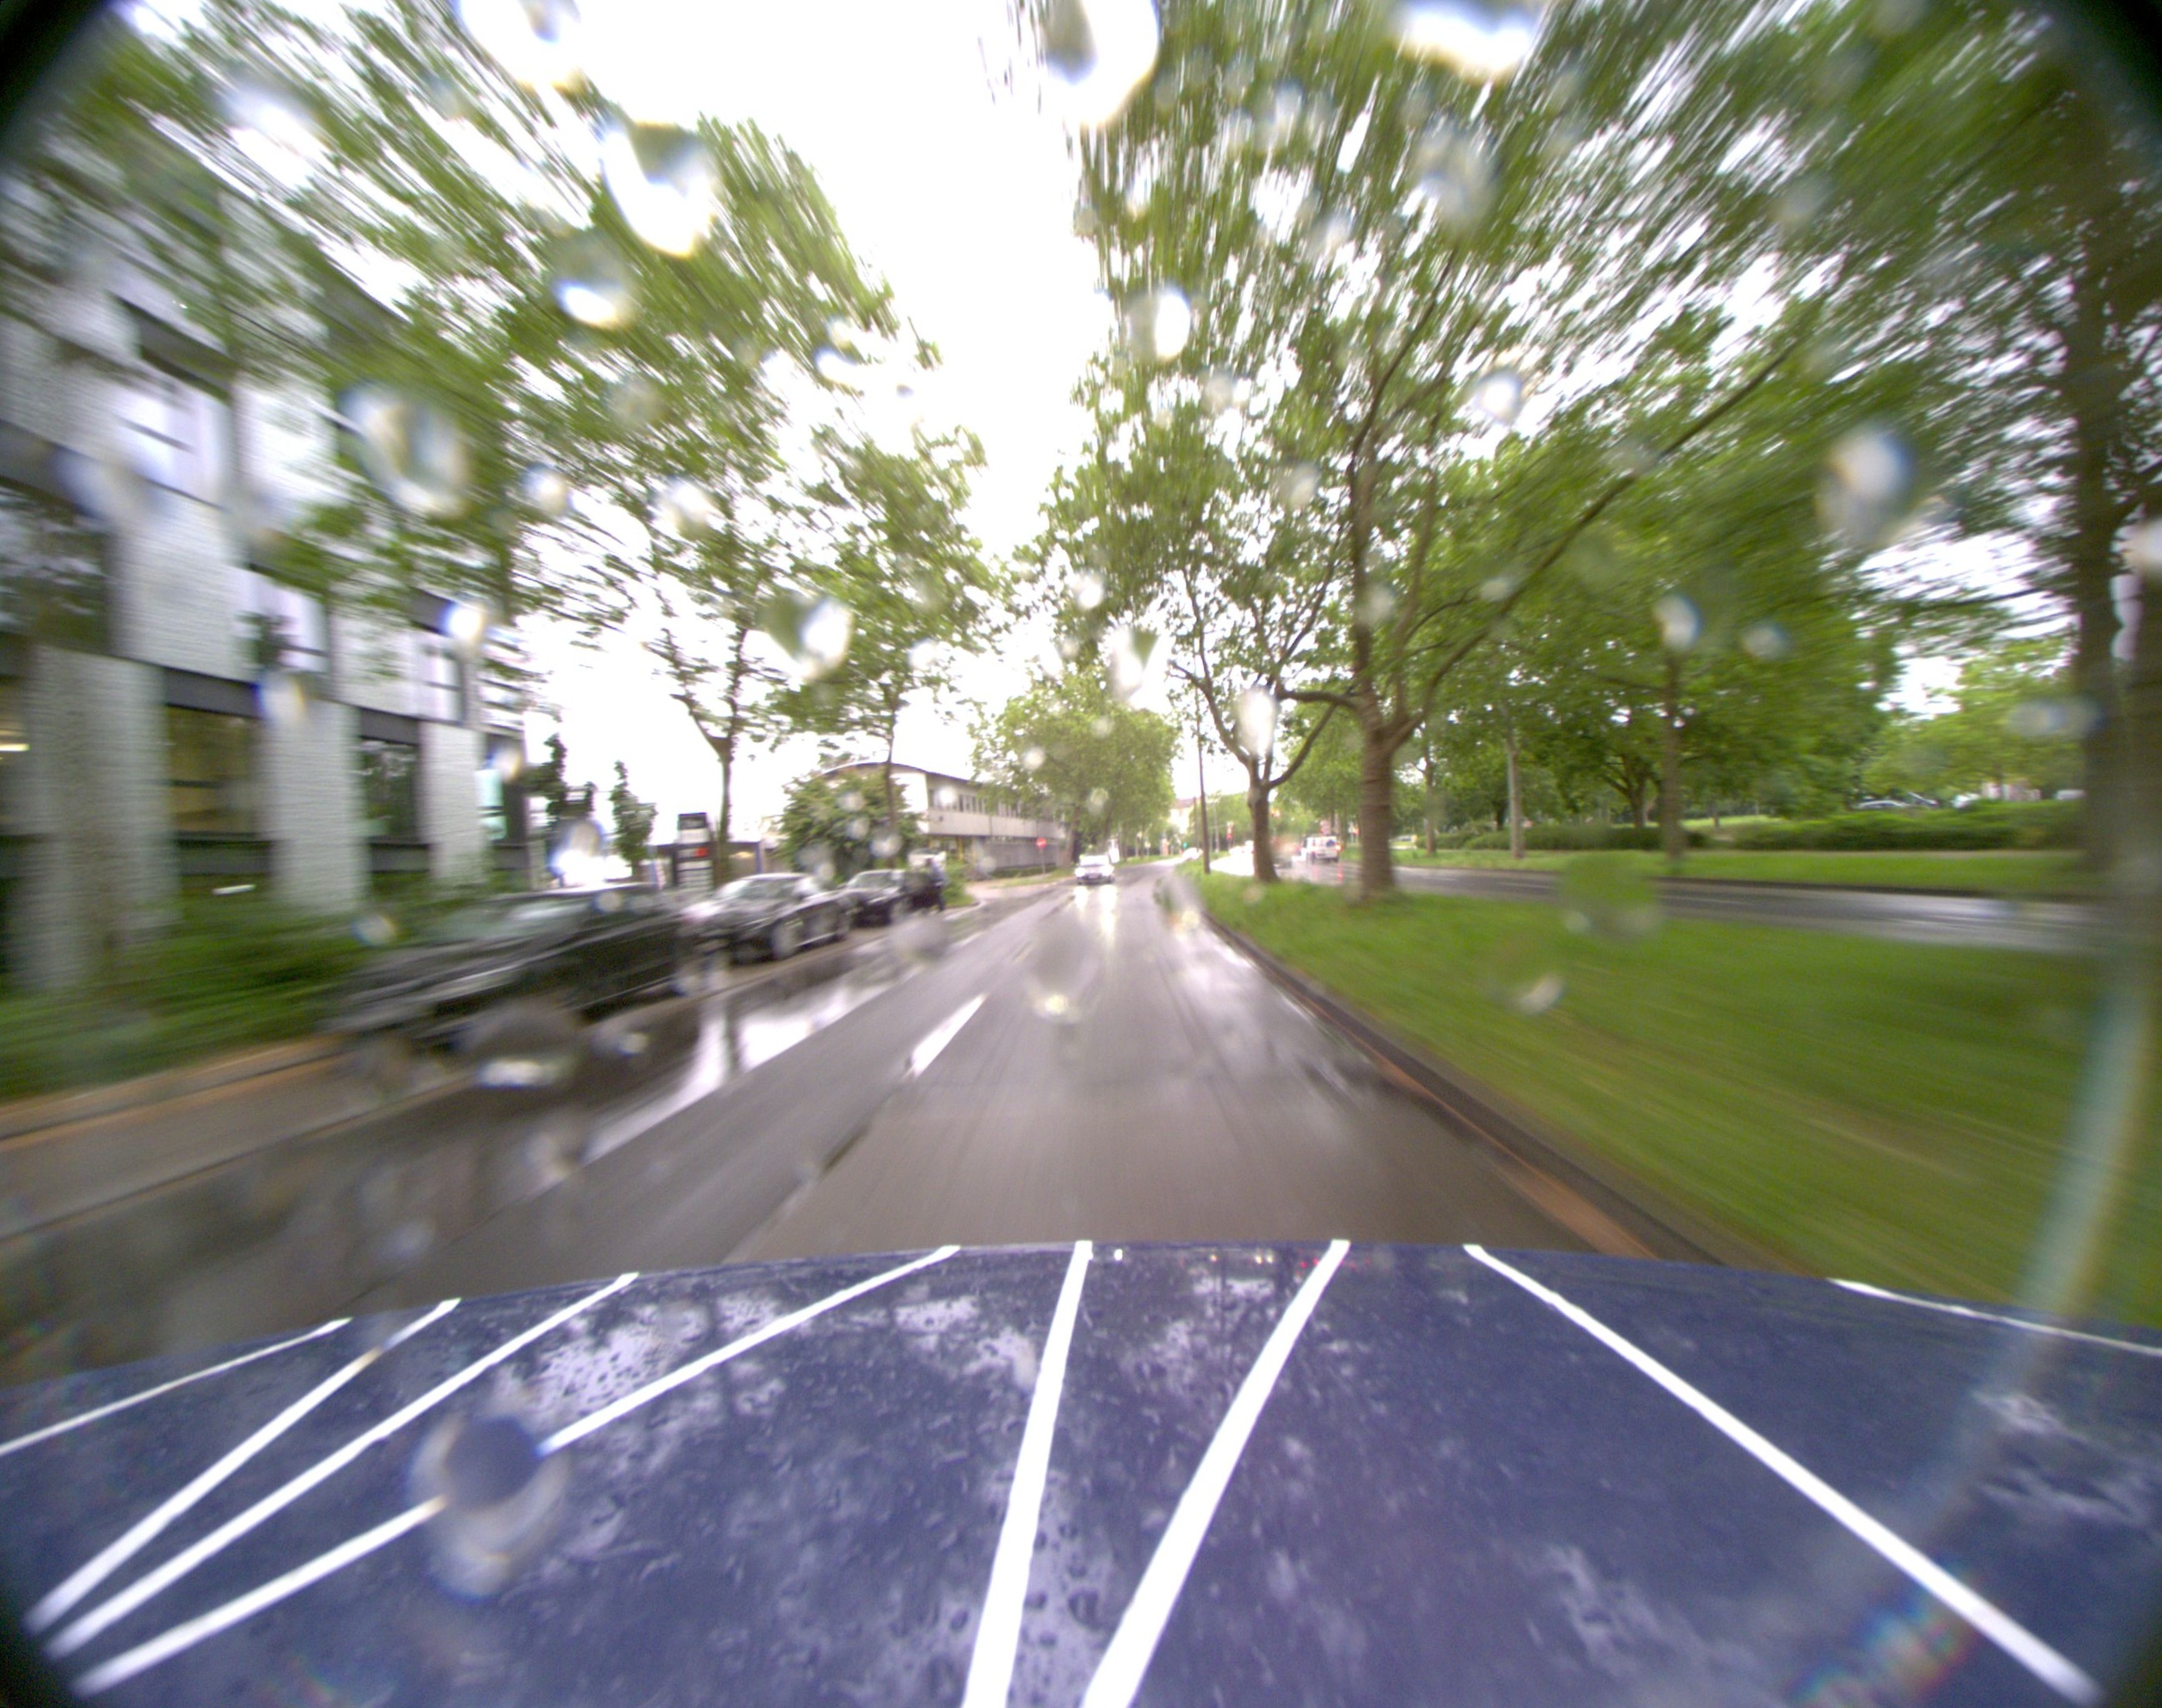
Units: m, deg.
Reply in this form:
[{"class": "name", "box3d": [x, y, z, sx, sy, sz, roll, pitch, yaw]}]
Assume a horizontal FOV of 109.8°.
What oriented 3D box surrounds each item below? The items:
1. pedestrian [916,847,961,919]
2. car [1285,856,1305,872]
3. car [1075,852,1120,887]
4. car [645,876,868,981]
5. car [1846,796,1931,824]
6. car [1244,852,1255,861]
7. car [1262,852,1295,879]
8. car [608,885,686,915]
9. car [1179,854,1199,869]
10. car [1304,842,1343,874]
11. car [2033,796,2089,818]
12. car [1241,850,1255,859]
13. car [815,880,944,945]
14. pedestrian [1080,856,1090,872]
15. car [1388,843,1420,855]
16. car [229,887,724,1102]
[{"class": "pedestrian", "box3d": [-4.121, 0.834, 21.959, 0.901, 2.002, 0.831, -3, 0, -33]}, {"class": "car", "box3d": [25.305, 1.184, 89.950, 1.997, 1.621, 4.335, -4, 0, 13]}, {"class": "car", "box3d": [0.967, 0.789, 40.491, 1.998, 1.585, 5.592, -4, 0, 5]}, {"class": "car", "box3d": [-5.724, 1.230, 14.262, 1.747, 1.420, 5.105, -3, -1, 2]}, {"class": "car", "box3d": [77.242, -4.205, 72.799, 2.004, 2.161, 5.403, -4, 0, -44]}, {"class": "car", "box3d": [35.761, 0.467, 161.188, 1.996, 1.620, 4.527, -4, 0, 15]}, {"class": "car", "box3d": [13.753, 0.770, 53.117, 2.033, 1.726, 4.959, -3, -1, 13]}, {"class": "car", "box3d": [-27.917, 2.950, 48.884, 4.297, 1.521, 1.895, -4, 3, 21]}, {"class": "car", "box3d": [13.590, 0.898, 95.788, 1.997, 1.620, 4.526, -4, 0, 13]}, {"class": "car", "box3d": [18.404, 0.324, 57.852, 2.033, 2.213, 5.439, -3, 0, 10]}, {"class": "car", "box3d": [77.120, -3.677, 59.845, 1.995, 1.528, 4.507, -4, 0, 44]}, {"class": "car", "box3d": [33.730, 0.037, 153.435, 1.996, 1.620, 4.528, -4, 0, 20]}, {"class": "car", "box3d": [-5.321, 1.502, 20.810, 1.747, 1.420, 4.862, -1, 0, 6]}, {"class": "pedestrian", "box3d": [0.456, 1.110, 83.310, 0.832, 1.685, 0.901, -4, 0, 17]}, {"class": "car", "box3d": [52.794, -0.843, 124.200, 4.511, 1.620, 2.003, -4, 0, 31]}, {"class": "car", "box3d": [-5.781, 1.214, 8.073, 1.747, 1.467, 4.084, -3, -1, 4]}]
